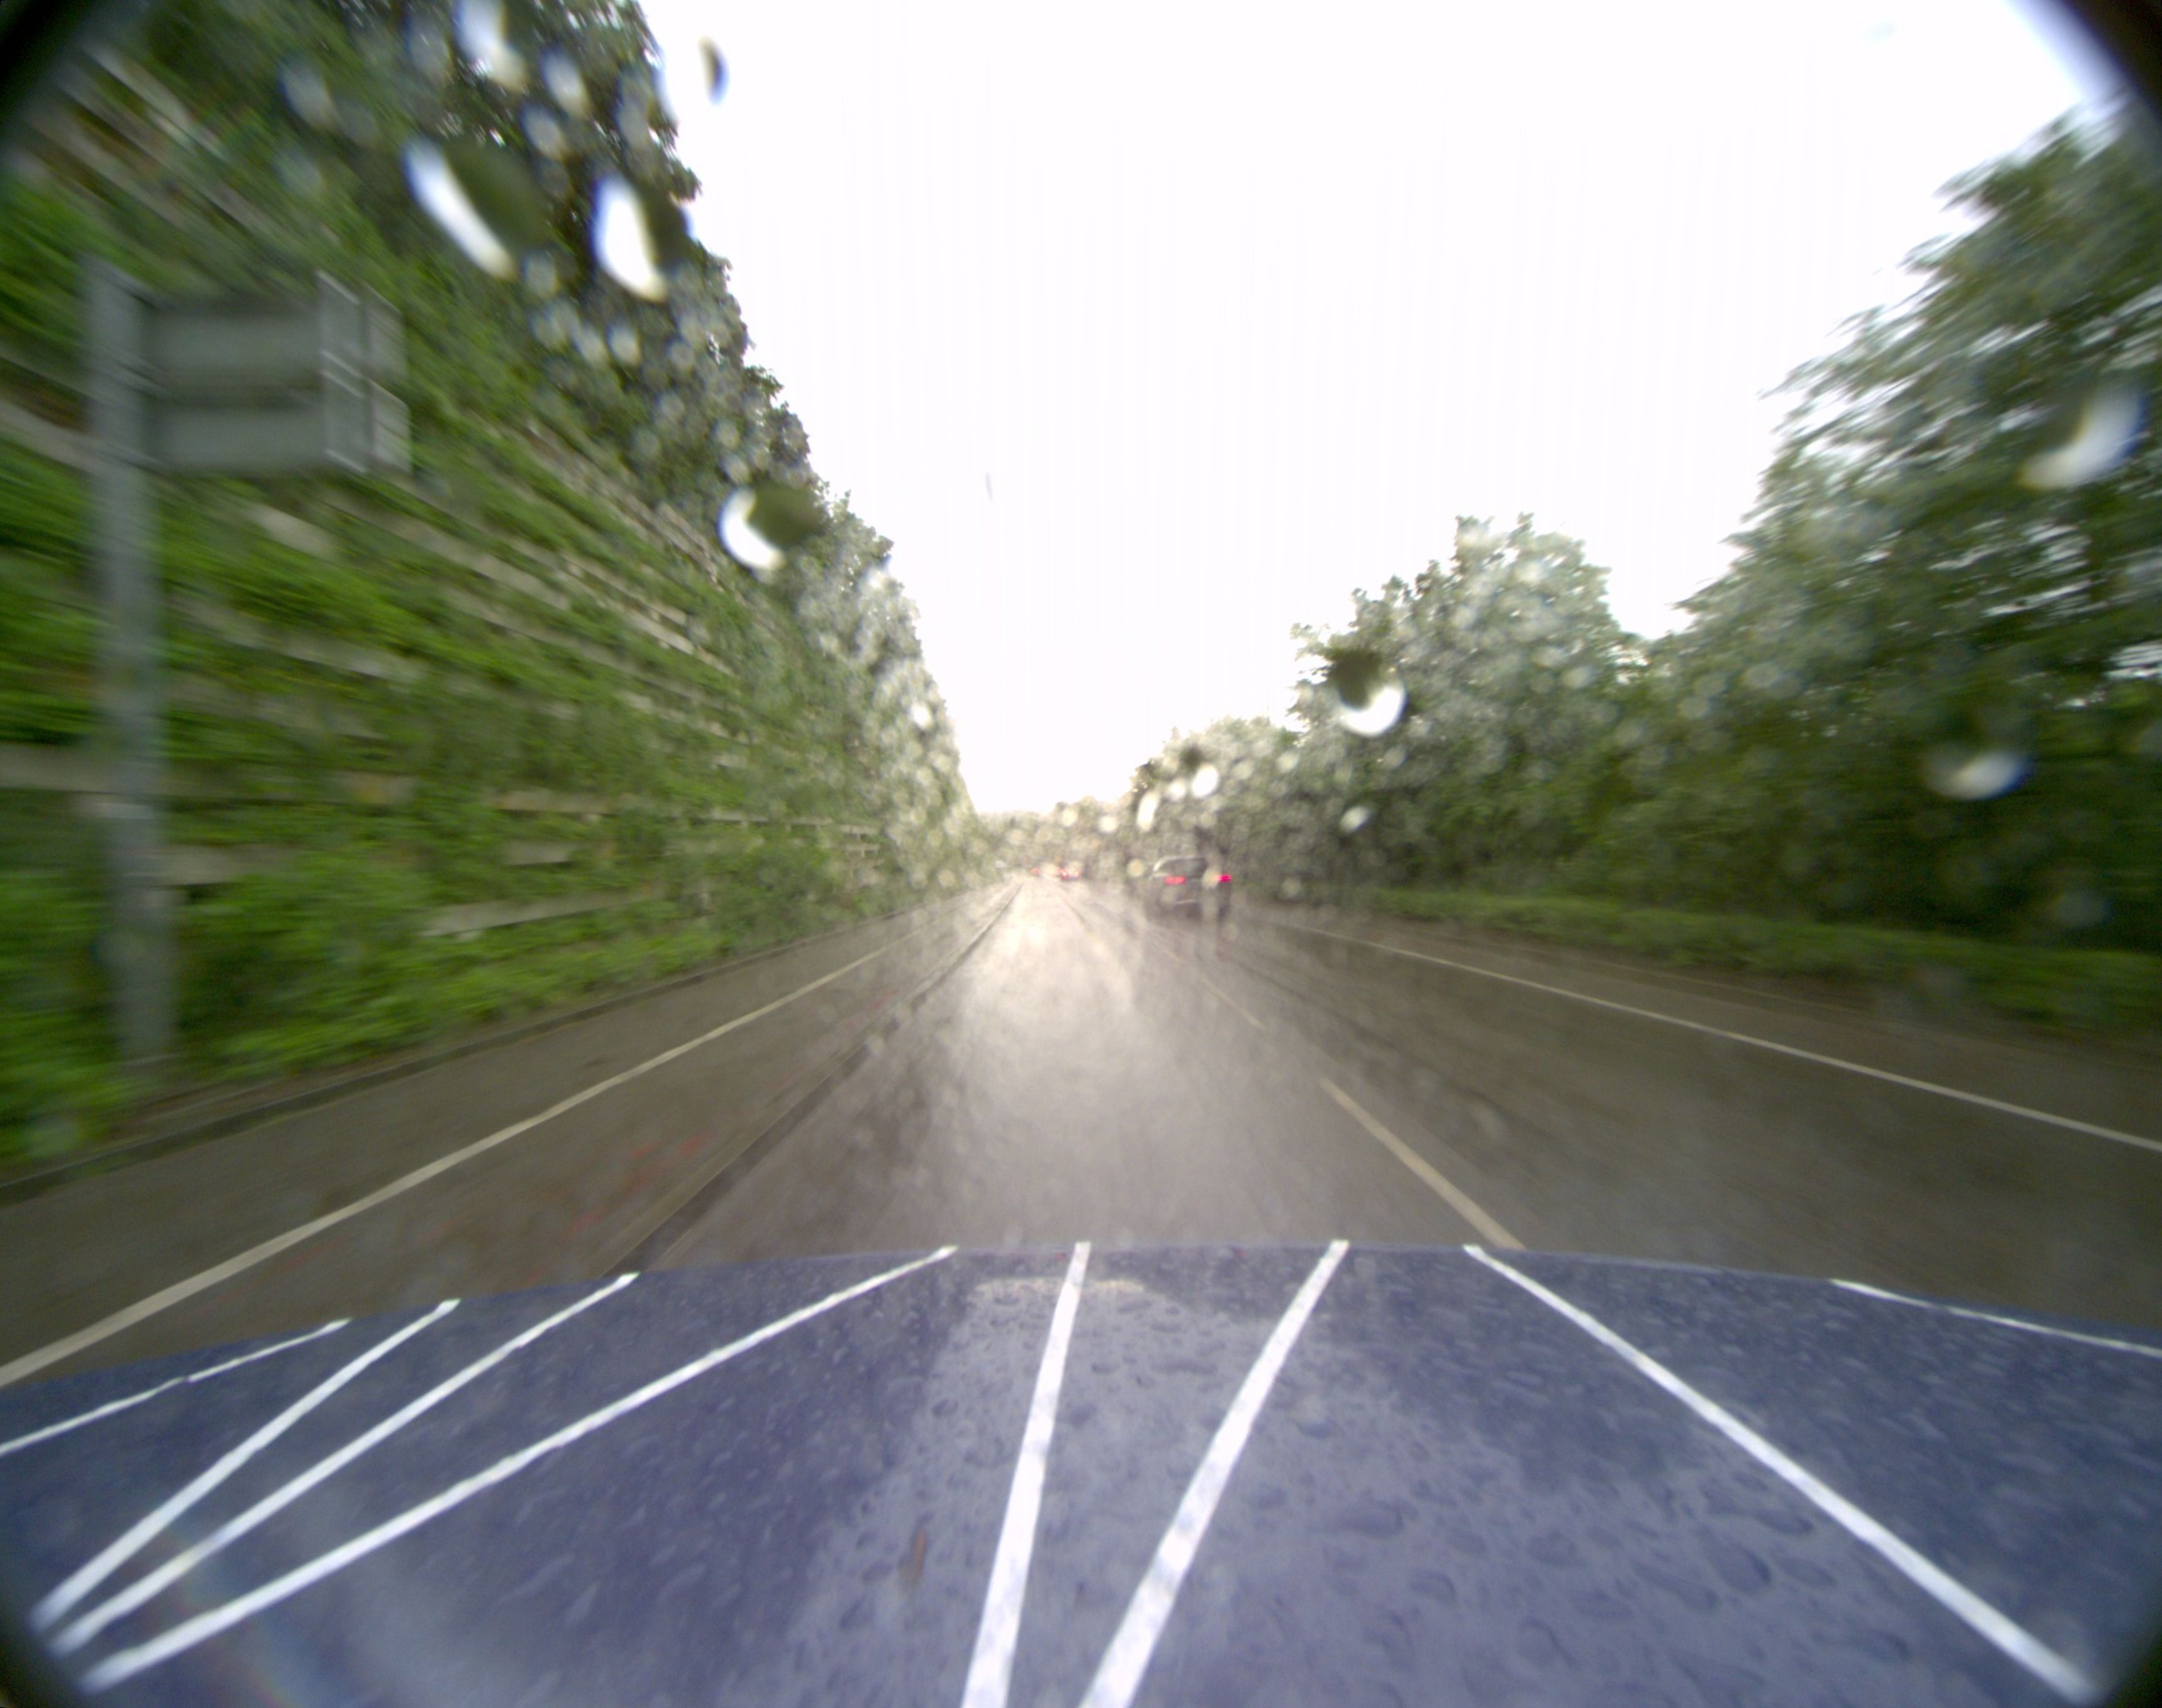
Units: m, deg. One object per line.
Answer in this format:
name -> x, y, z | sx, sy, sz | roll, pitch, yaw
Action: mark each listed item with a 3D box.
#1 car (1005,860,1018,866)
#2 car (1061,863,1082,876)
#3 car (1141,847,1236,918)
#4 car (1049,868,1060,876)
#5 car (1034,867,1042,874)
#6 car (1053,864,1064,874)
car -> -21.179, 2.636, 230.060 | 3.825, 1.559, 1.773 | 2, 0, -8
car -> -1.080, 1.677, 83.893 | 1.999, 1.356, 4.250 | -2, -1, -5
car -> 2.848, 0.716, 21.088 | 1.835, 1.696, 4.332 | -2, 0, -2
car -> -5.182, 3.504, 146.025 | 1.870, 1.440, 4.376 | -1, -1, -5
car -> -9.777, 3.771, 172.703 | 1.737, 1.608, 3.999 | -1, 0, -1
car -> -3.818, 2.535, 129.030 | 1.828, 1.605, 4.093 | -2, -1, -2
